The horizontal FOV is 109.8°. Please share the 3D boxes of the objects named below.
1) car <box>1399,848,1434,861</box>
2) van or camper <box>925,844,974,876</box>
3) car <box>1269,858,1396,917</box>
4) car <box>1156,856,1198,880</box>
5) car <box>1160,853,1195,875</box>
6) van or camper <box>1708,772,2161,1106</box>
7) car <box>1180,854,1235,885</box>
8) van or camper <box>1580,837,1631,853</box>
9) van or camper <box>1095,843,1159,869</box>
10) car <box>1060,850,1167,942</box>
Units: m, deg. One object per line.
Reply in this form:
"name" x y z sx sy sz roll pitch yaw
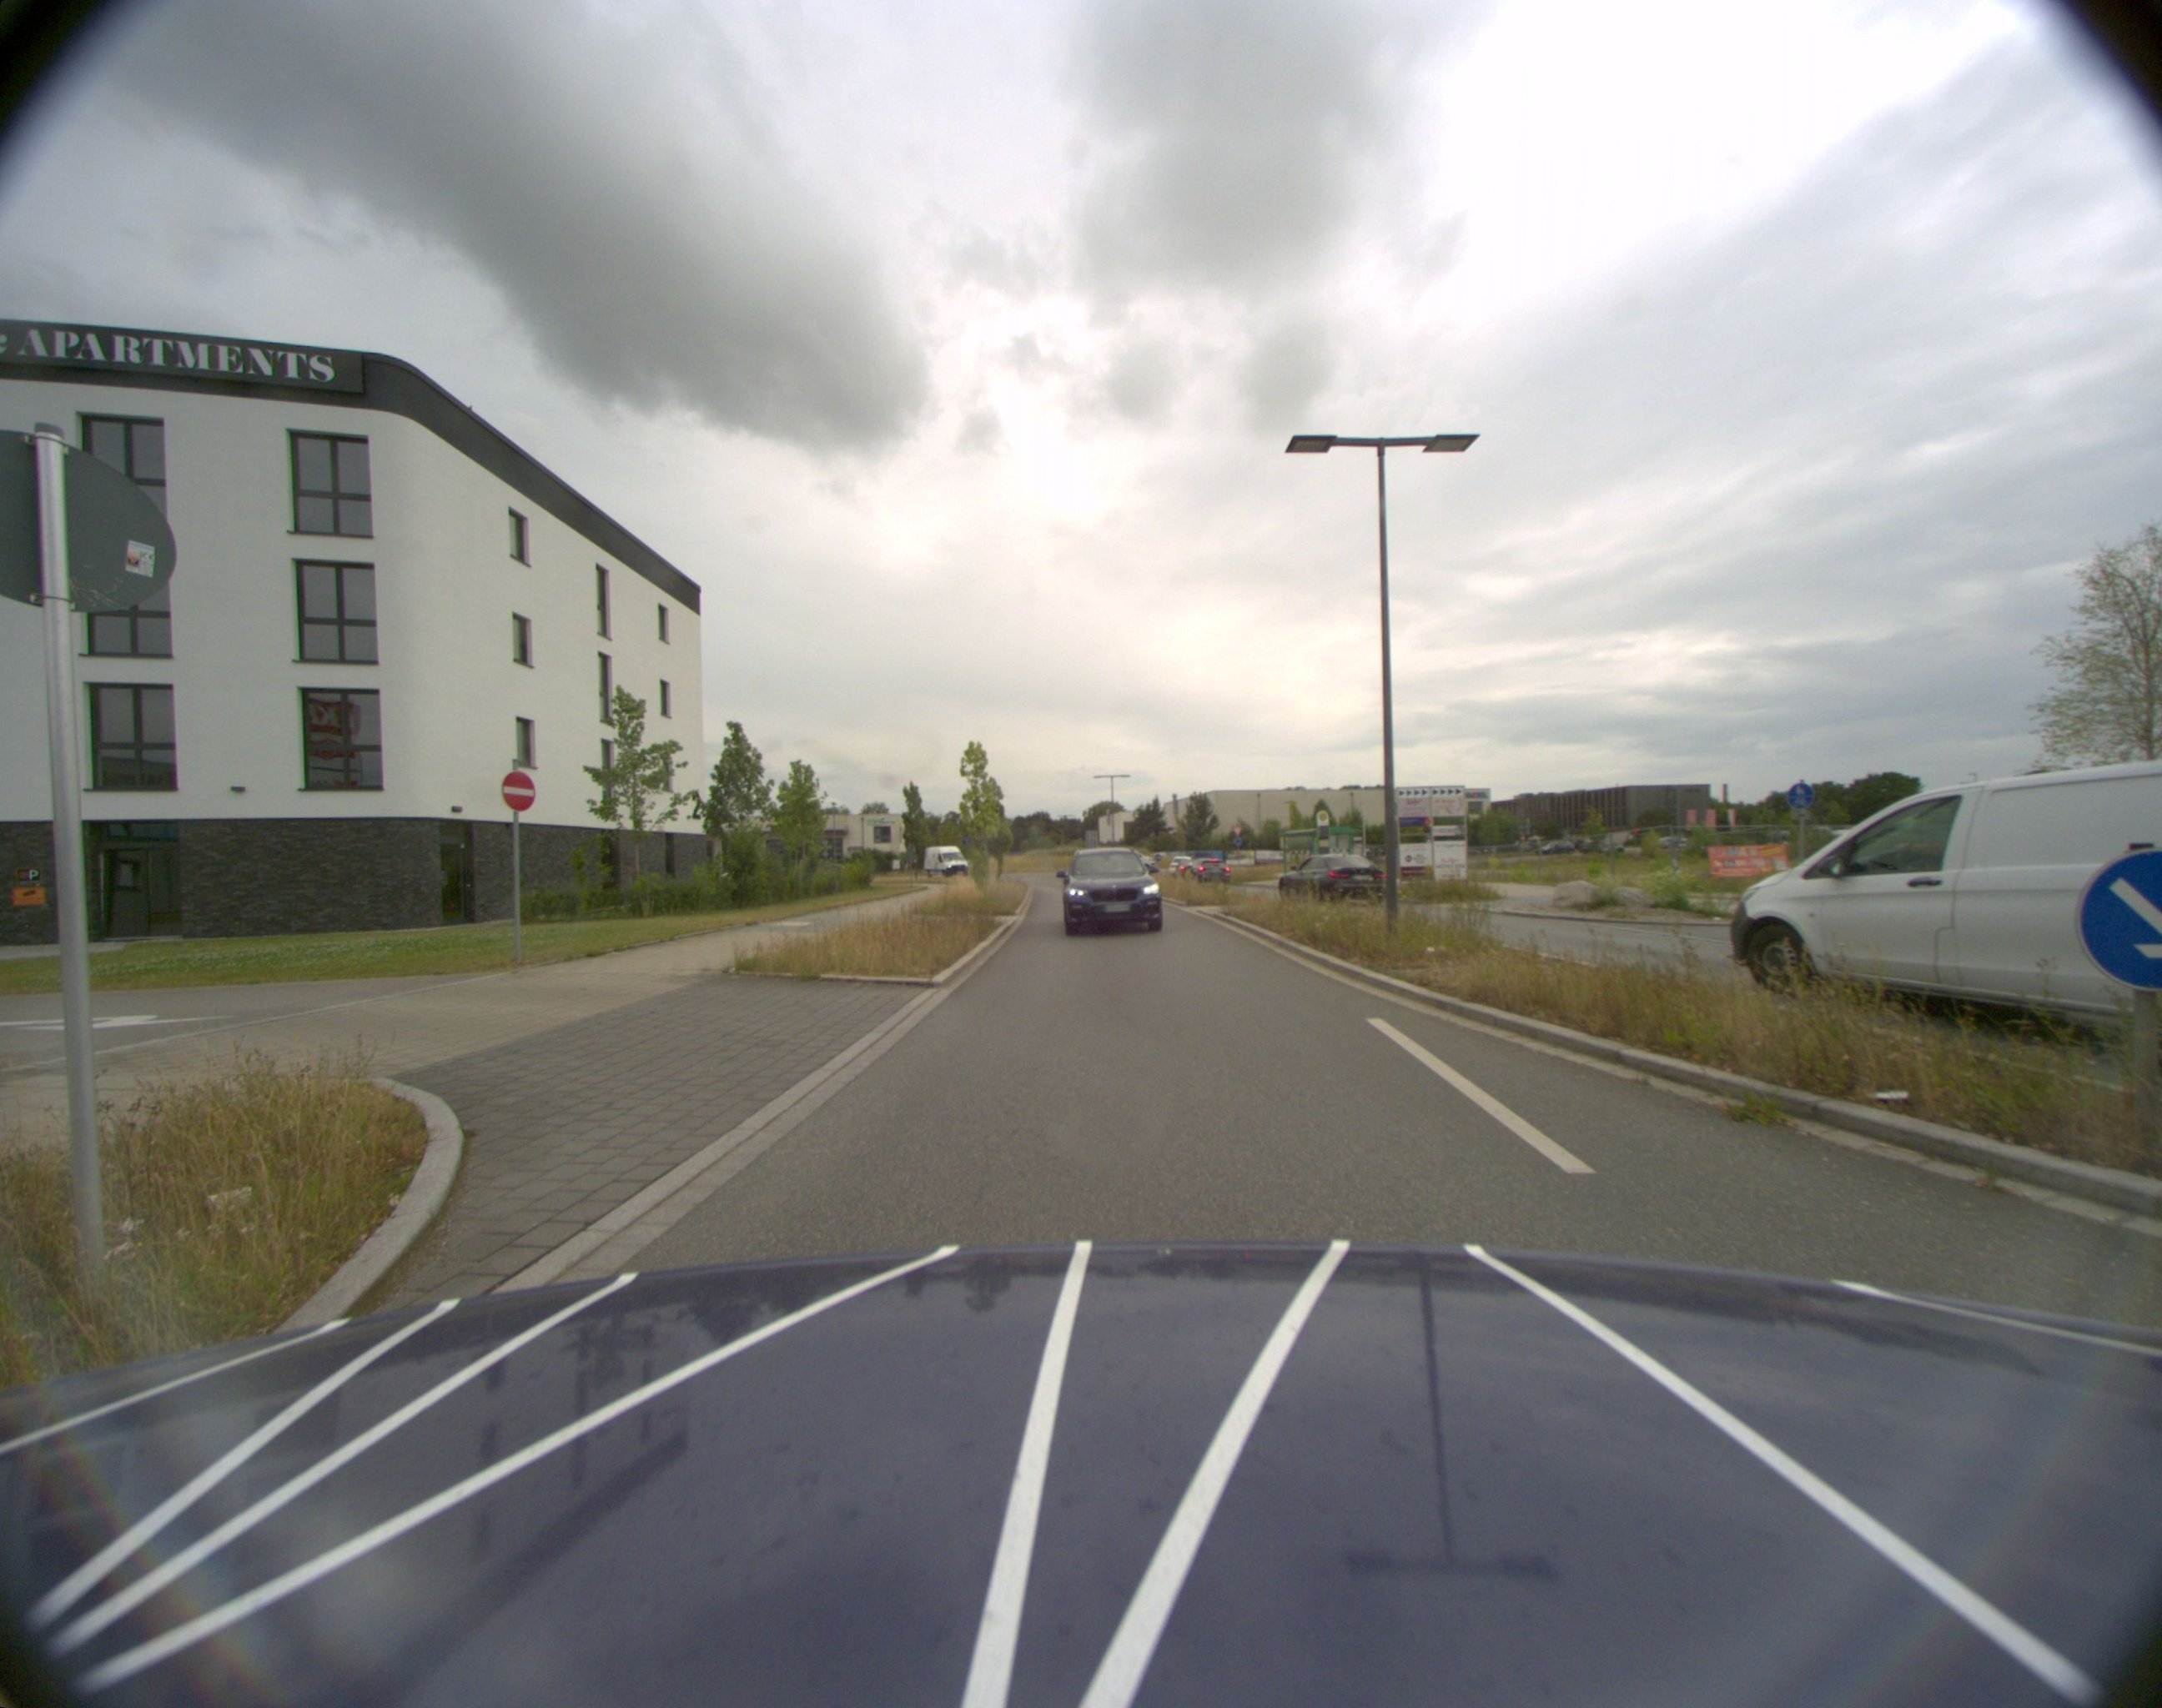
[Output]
"car" 36.431 0.029 82.510 4.072 1.335 1.713 -2 1 -38
"van or camper" -11.052 0.467 63.530 2.003 2.567 5.452 -2 1 -33
"car" 7.243 0.895 22.417 1.785 1.437 4.607 -2 0 -6
"car" 6.006 0.868 47.860 1.790 1.387 4.369 0 0 -4
"car" 6.932 0.713 54.986 1.758 1.472 4.054 -1 1 -4
"van or camper" 7.205 0.479 5.083 1.998 1.900 5.205 0 0 4
"car" 6.595 0.773 40.156 1.797 1.458 4.318 -2 1 -5
"van or camper" 60.254 -1.085 87.312 4.571 1.739 1.998 -1 1 -6
"van or camper" 3.623 0.144 60.293 4.839 1.880 1.983 -2 0 -2
"car" 0.614 0.760 15.769 1.893 1.630 4.000 -1 0 1
